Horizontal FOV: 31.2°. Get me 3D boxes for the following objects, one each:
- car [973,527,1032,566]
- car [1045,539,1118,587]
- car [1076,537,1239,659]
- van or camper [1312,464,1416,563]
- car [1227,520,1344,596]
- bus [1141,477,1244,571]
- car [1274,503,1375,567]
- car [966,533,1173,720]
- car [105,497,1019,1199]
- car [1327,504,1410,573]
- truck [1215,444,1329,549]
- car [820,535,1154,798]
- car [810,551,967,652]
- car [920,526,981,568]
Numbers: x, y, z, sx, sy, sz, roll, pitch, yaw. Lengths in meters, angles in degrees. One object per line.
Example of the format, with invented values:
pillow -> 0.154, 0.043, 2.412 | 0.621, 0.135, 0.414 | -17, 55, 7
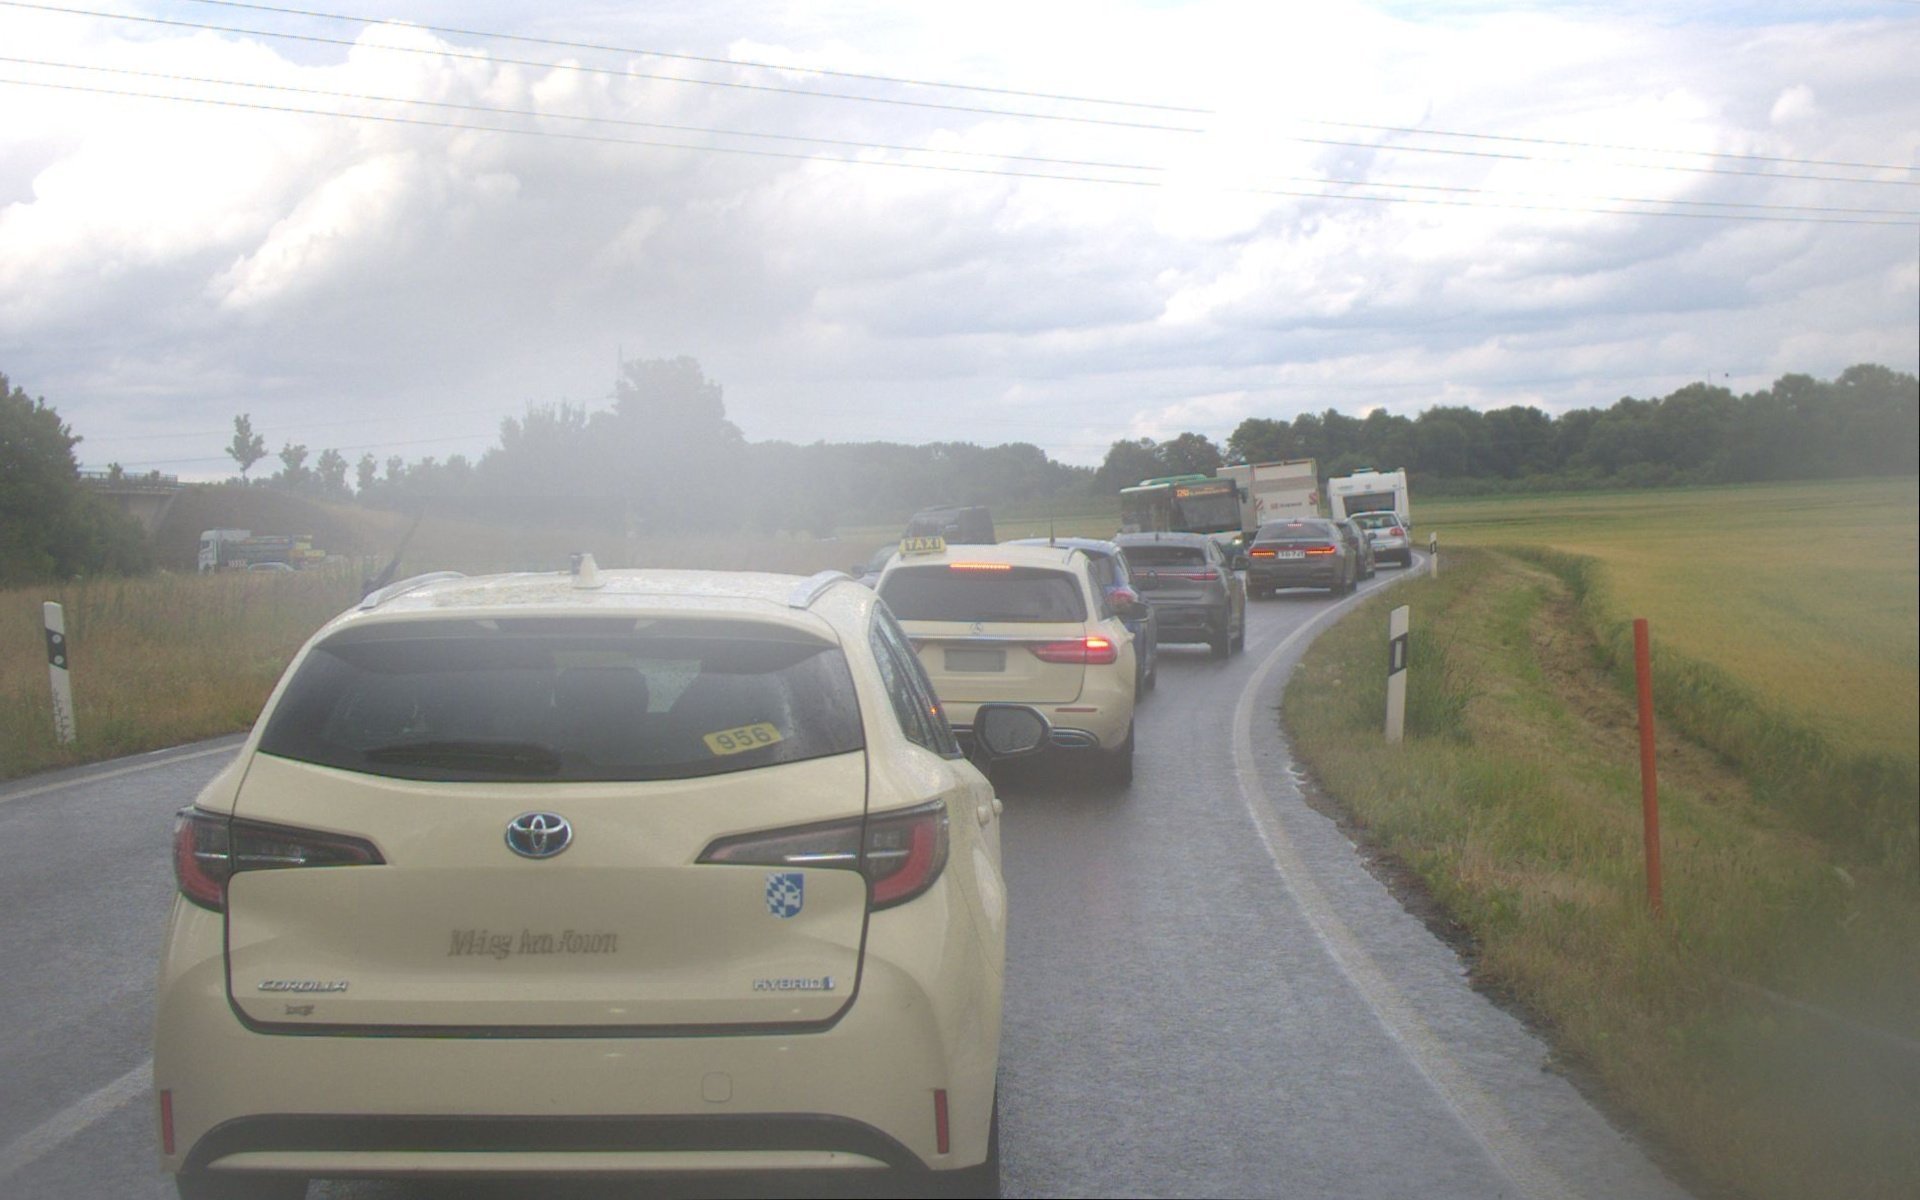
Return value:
car -> 2.122, -2.672, 172.398 | 1.840, 1.852, 4.090 | 0, 0, -17
car -> 5.170, -1.554, 147.121 | 1.993, 2.007, 4.152 | 0, 0, -15
car -> 2.466, -0.029, 42.146 | 1.613, 1.408, 3.737 | 1, 0, 9
van or camper -> 12.247, -2.629, 104.708 | 2.537, 2.886, 6.743 | 0, 1, 2
car -> 6.329, -0.791, 66.517 | 1.960, 1.408, 4.390 | 1, 0, 9
bus -> 8.469, -2.800, 126.523 | 2.758, 3.286, 12.503 | 0, 1, -1
car -> 8.341, -1.470, 78.483 | 1.826, 1.408, 3.736 | 1, 0, 13
car -> 1.089, 0.225, 32.498 | 1.613, 1.653, 3.737 | 1, 0, 7
car -> -0.709, 0.587, 8.221 | 1.613, 1.557, 3.738 | 0, 0, 2
car -> 10.639, -1.592, 89.322 | 1.960, 1.723, 3.737 | 1, 0, 9
truck -> 11.972, -3.936, 132.629 | 3.126, 3.839, 7.387 | 0, 0, -5
car -> 0.283, 0.338, 22.131 | 1.841, 1.487, 4.607 | 0, 1, 4
car -> -0.991, 0.015, 49.862 | 1.630, 1.392, 4.318 | 1, 0, 7
car -> -0.477, -2.625, 171.543 | 1.993, 2.007, 4.001 | 0, 0, -17
